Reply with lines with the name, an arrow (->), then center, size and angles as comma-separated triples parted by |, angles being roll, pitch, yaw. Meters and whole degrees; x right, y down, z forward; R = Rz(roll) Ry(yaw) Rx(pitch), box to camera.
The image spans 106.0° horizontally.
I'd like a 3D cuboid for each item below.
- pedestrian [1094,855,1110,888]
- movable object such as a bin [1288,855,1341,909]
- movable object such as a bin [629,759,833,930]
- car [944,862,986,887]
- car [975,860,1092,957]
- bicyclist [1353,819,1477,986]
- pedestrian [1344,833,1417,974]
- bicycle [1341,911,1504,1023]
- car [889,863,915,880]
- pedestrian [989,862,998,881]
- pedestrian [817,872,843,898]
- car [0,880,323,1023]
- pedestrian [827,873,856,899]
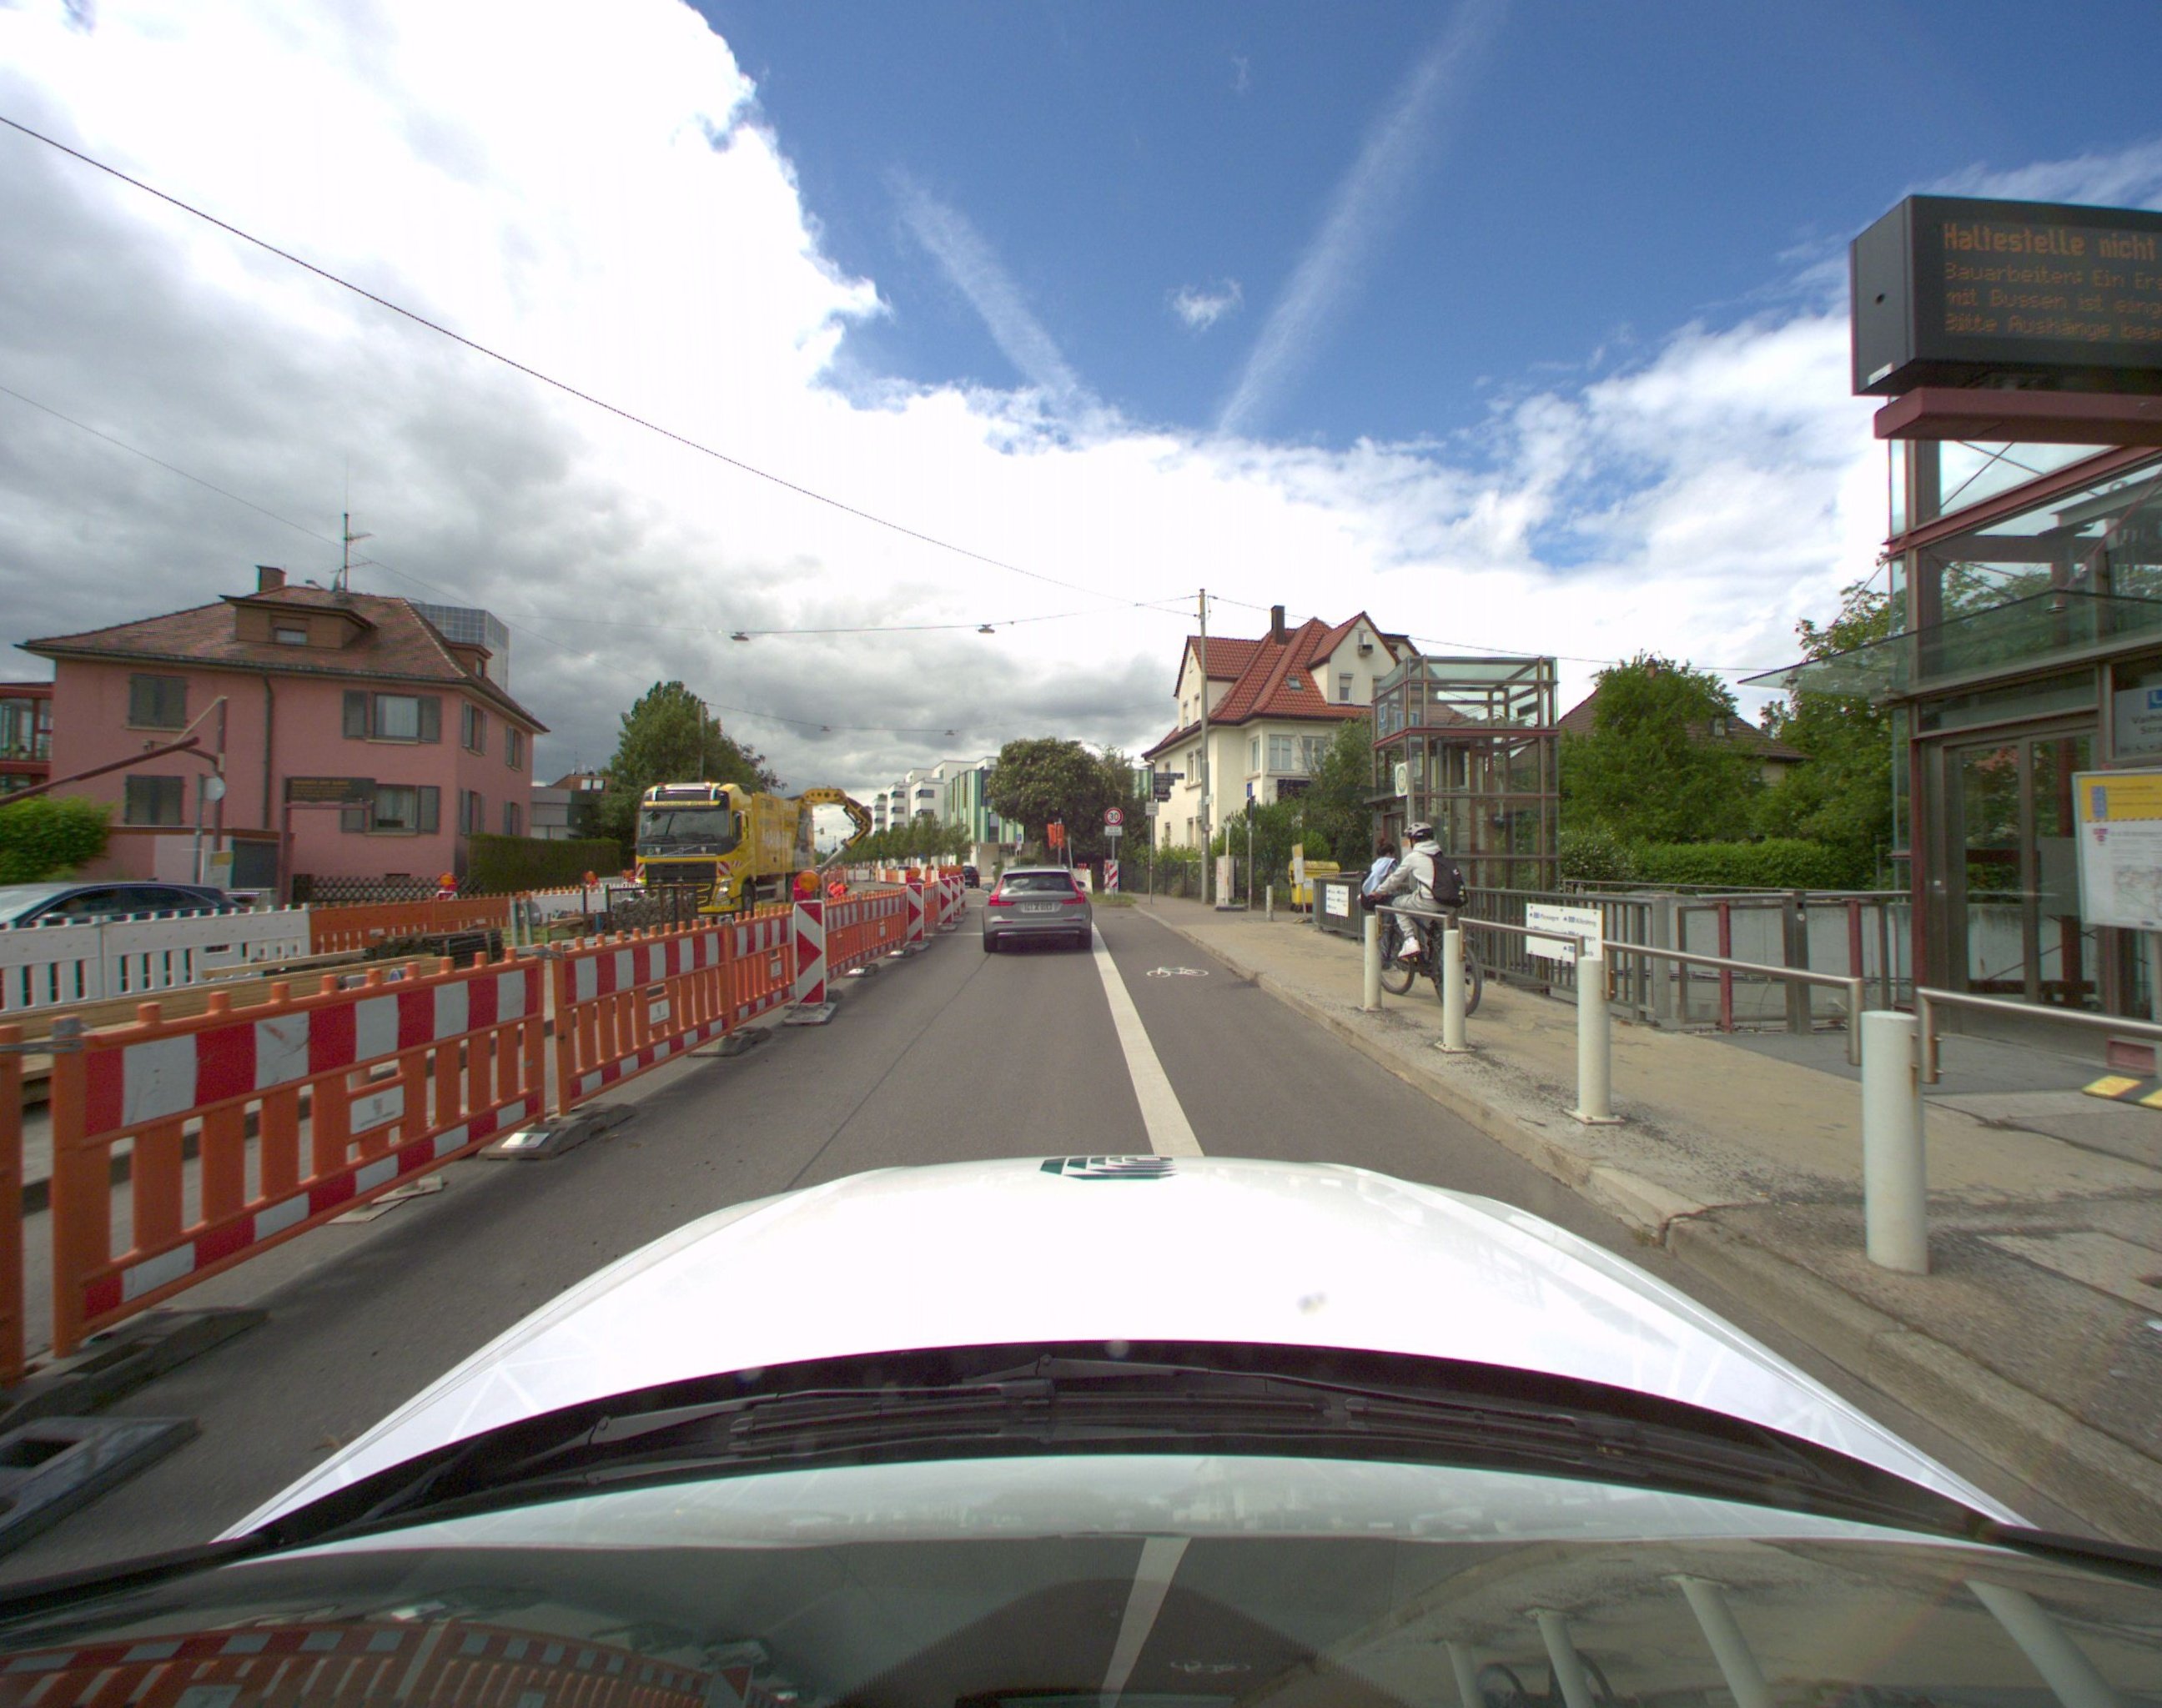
pedestrian -> 0.974, 0.828, 38.145 | 0.630, 1.540, 0.523 | -1, -1, 10
movable object such as a bin -> 6.541, 0.769, 22.888 | 1.262, 1.470, 1.006 | 0, -1, 5
movable object such as a bin -> -10.394, -0.205, 25.818 | 2.587, 4.221, 11.099 | -1, 0, -5
car -> -7.522, 1.291, 52.386 | 1.861, 1.513, 3.972 | 1, -1, -21
car -> -0.760, 0.886, 15.077 | 1.848, 1.513, 3.999 | -1, 0, 0
bicyclist -> 3.037, 0.410, 7.510 | 0.654, 1.415, 1.178 | 0, 0, -1
pedestrian -> 3.545, 0.584, 9.657 | 0.596, 1.583, 0.401 | 5, -3, -1
bicycle -> 3.071, 0.977, 7.567 | 0.633, 0.753, 2.061 | 0, 0, -1
car -> -16.751, 1.603, 76.166 | 1.851, 1.513, 3.972 | 1, -1, -21
pedestrian -> -7.494, 1.497, 70.051 | 0.583, 1.551, 0.863 | 0, -1, -20
pedestrian -> -9.980, 1.218, 32.446 | 0.635, 0.991, 0.797 | -1, -1, 18
car -> -13.146, 1.181, 10.858 | 1.848, 1.513, 4.441 | -1, 0, 1
pedestrian -> -9.352, 1.232, 31.827 | 0.786, 0.991, 0.814 | -1, -1, 8
